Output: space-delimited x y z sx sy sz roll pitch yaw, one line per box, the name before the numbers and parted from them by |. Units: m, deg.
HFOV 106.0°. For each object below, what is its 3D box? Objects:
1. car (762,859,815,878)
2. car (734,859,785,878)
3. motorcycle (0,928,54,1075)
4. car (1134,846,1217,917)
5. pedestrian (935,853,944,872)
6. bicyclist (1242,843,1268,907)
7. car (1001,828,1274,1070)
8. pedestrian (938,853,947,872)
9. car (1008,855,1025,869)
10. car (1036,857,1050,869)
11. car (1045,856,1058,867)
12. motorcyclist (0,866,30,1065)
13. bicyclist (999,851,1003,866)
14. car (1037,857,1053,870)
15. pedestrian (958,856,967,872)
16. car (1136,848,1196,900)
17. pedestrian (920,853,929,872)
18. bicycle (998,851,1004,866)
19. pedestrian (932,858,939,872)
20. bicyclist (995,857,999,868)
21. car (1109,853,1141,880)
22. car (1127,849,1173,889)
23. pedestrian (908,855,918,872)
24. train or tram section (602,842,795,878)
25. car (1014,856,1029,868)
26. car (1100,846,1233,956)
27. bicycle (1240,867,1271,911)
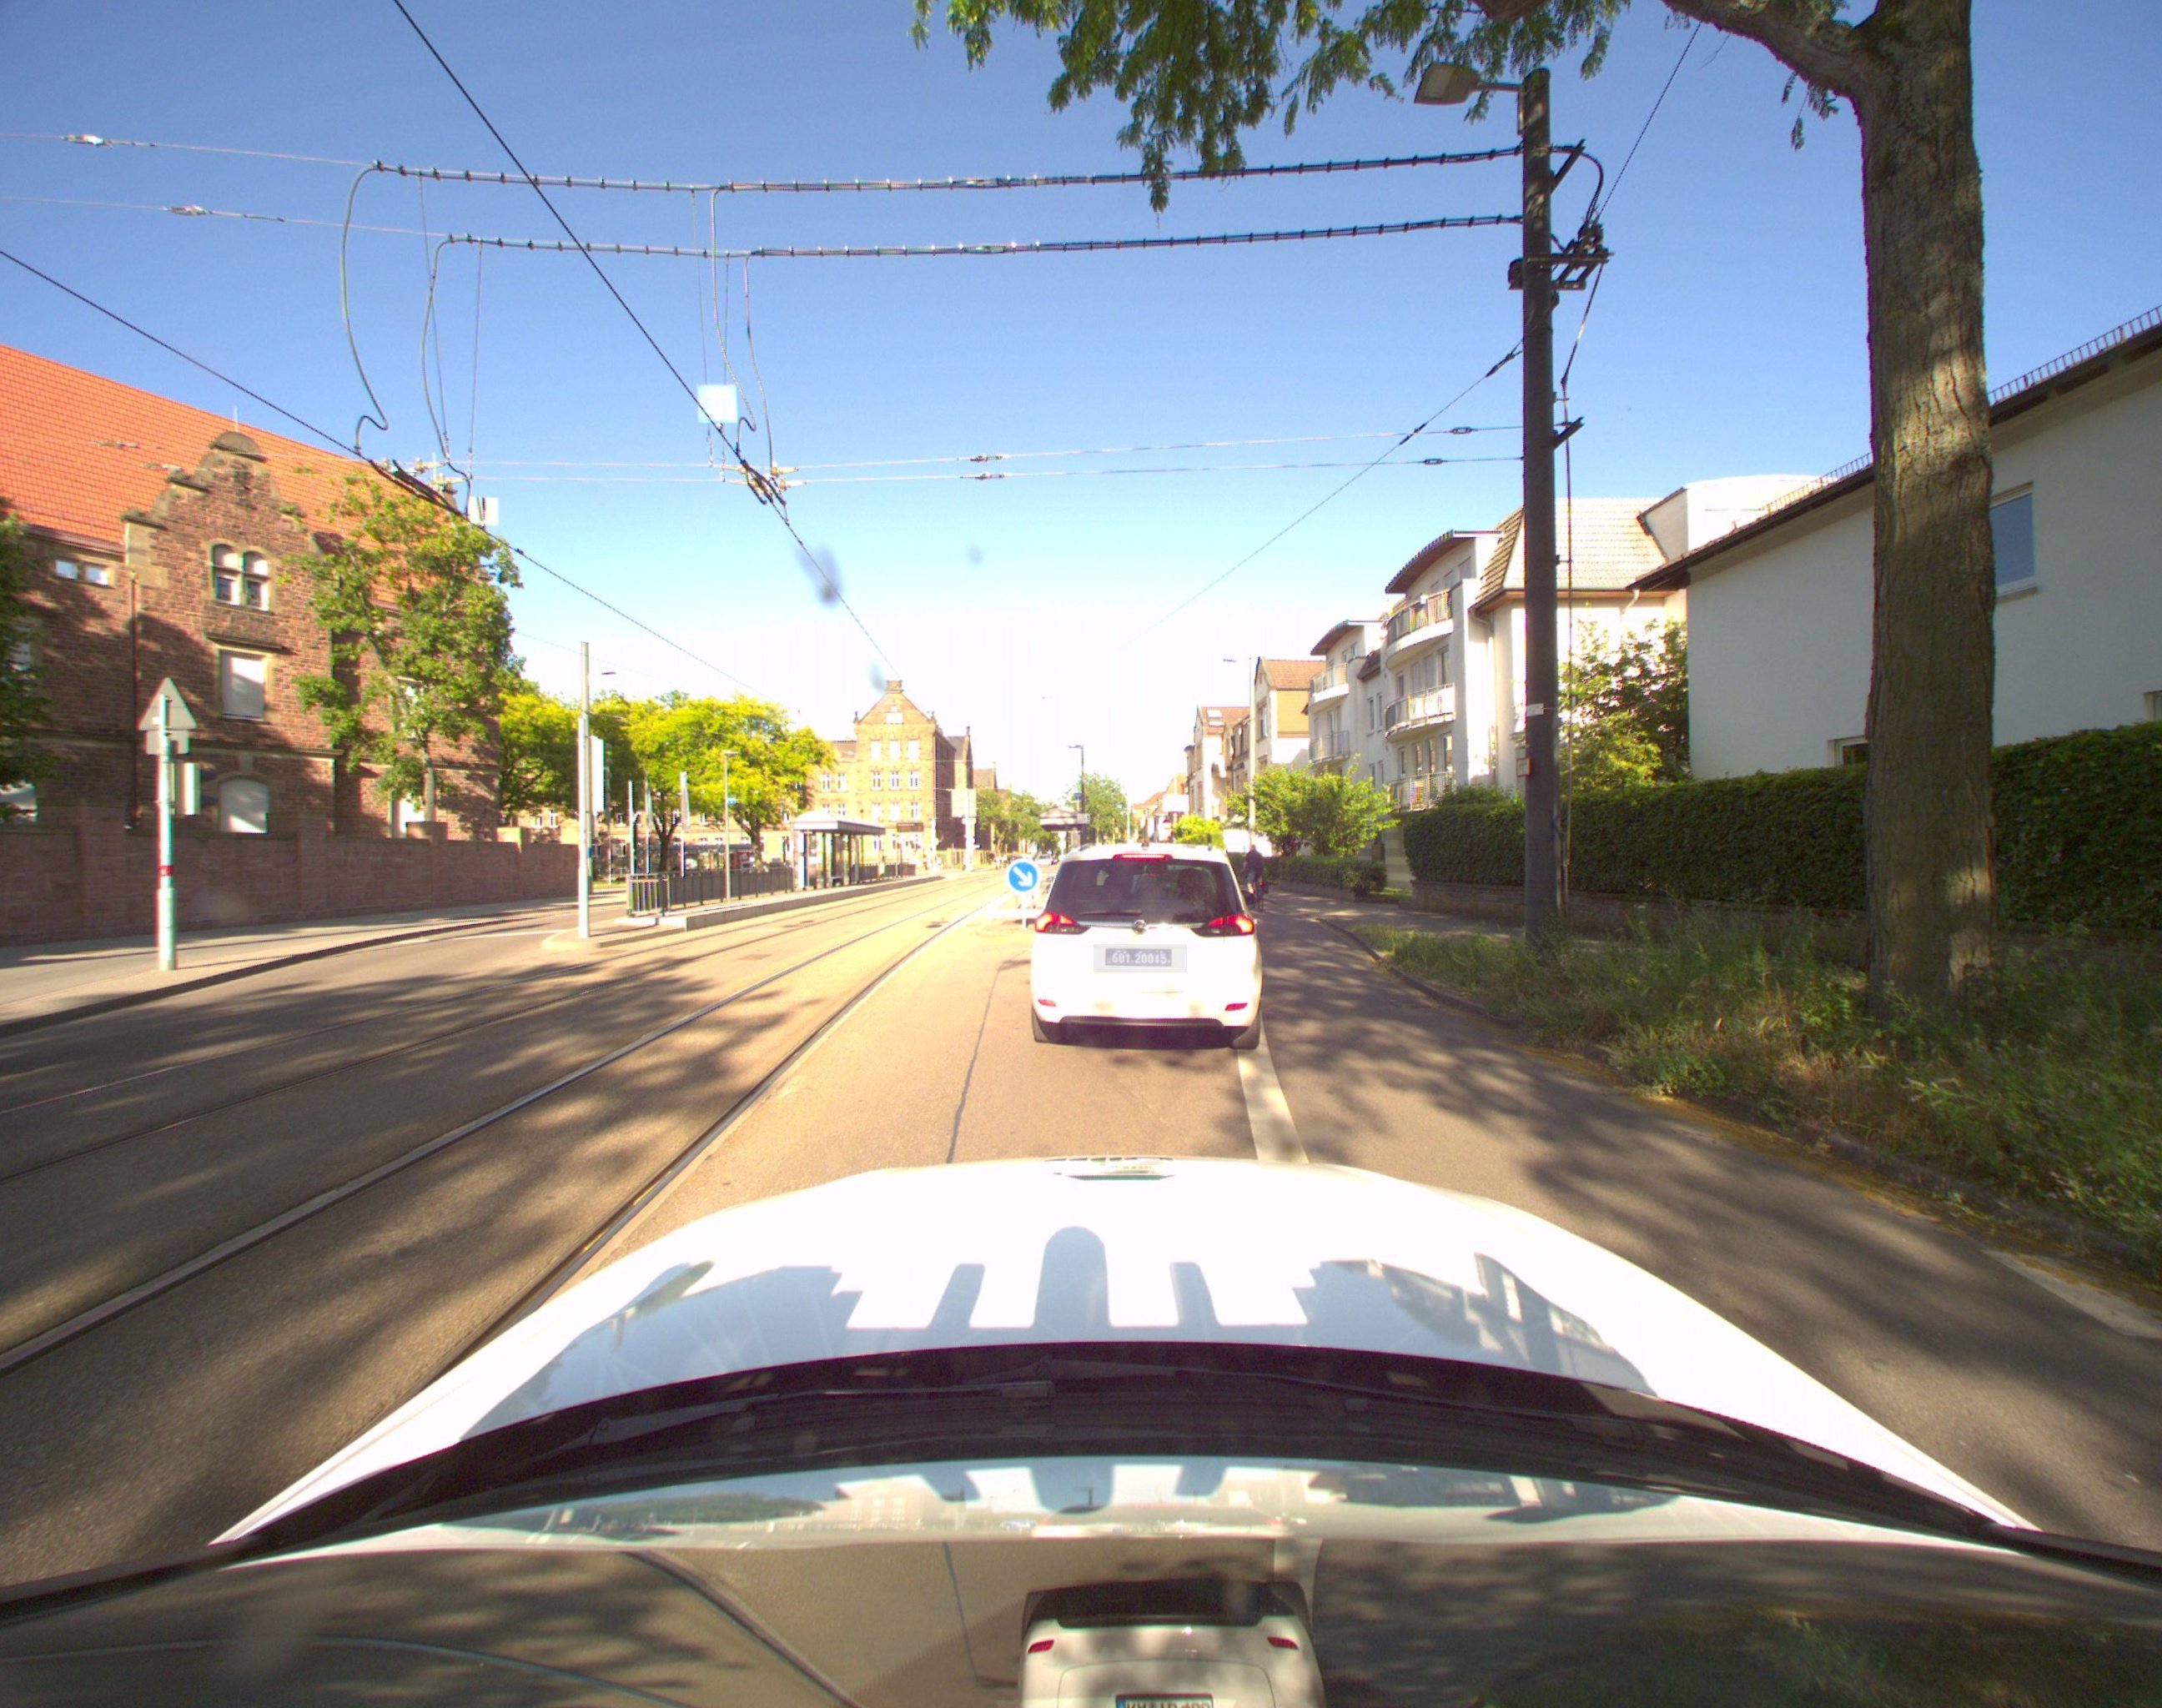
car | -25.452 1.251 70.960 3.976 1.630 1.817 0 -1 -2
car | -29.660 1.327 75.203 3.976 1.630 1.817 0 -1 -2
motorcycle | -8.484 1.144 5.611 0.609 1.093 1.851 -1 0 -7
car | 2.520 0.643 21.066 1.896 1.624 4.010 -1 0 9
pedestrian | -15.563 0.949 89.525 0.801 2.014 0.713 0 -1 -35
bicyclist | 4.731 0.557 22.161 0.612 1.686 0.780 -1 0 7
car | 0.694 0.667 7.720 1.896 1.661 4.010 -1 0 9
pedestrian | -14.560 0.881 85.505 0.796 2.014 0.717 0 -1 -15
car | -8.510 1.046 107.443 1.740 1.716 4.001 0 -1 2
car | -5.382 1.304 115.542 1.740 1.716 4.001 0 -1 2
car | -4.616 1.200 129.388 1.740 1.716 4.001 0 -1 2
motorcyclist | -8.548 0.853 6.135 0.606 1.516 0.464 -1 0 -8
bicyclist | -10.733 0.619 109.375 0.496 2.013 0.572 -1 0 1
car | -4.719 1.272 107.663 1.740 1.716 4.001 0 -1 2
pedestrian | -13.886 1.180 95.570 0.746 1.901 0.802 0 -1 -32
car | 2.974 0.657 28.338 1.897 1.661 4.007 -1 0 6
pedestrian | -17.071 0.954 88.939 0.800 2.014 0.713 0 -1 -32
bicycle | -10.729 0.618 109.357 0.485 2.013 1.406 -1 0 2
pedestrian | -17.147 1.271 95.876 0.651 1.612 0.712 0 -1 4
bicyclist | -10.675 1.072 103.490 0.312 1.444 0.384 -1 0 1
car | 2.837 0.760 53.174 1.901 1.661 4.000 -1 0 0
car | 2.994 0.622 36.181 1.899 1.661 4.003 -1 0 3
pedestrian | -18.458 1.049 89.645 0.802 1.901 0.747 -1 -1 16
train or tram section | -37.851 0.590 81.134 17.346 3.154 3.344 -1 -1 -3
car | -8.342 1.132 114.110 1.740 1.716 4.001 0 -1 2
car | 1.559 0.690 13.860 1.896 1.597 4.010 -1 0 9
bicycle | 4.745 0.929 22.219 0.620 1.097 1.977 -1 0 7
